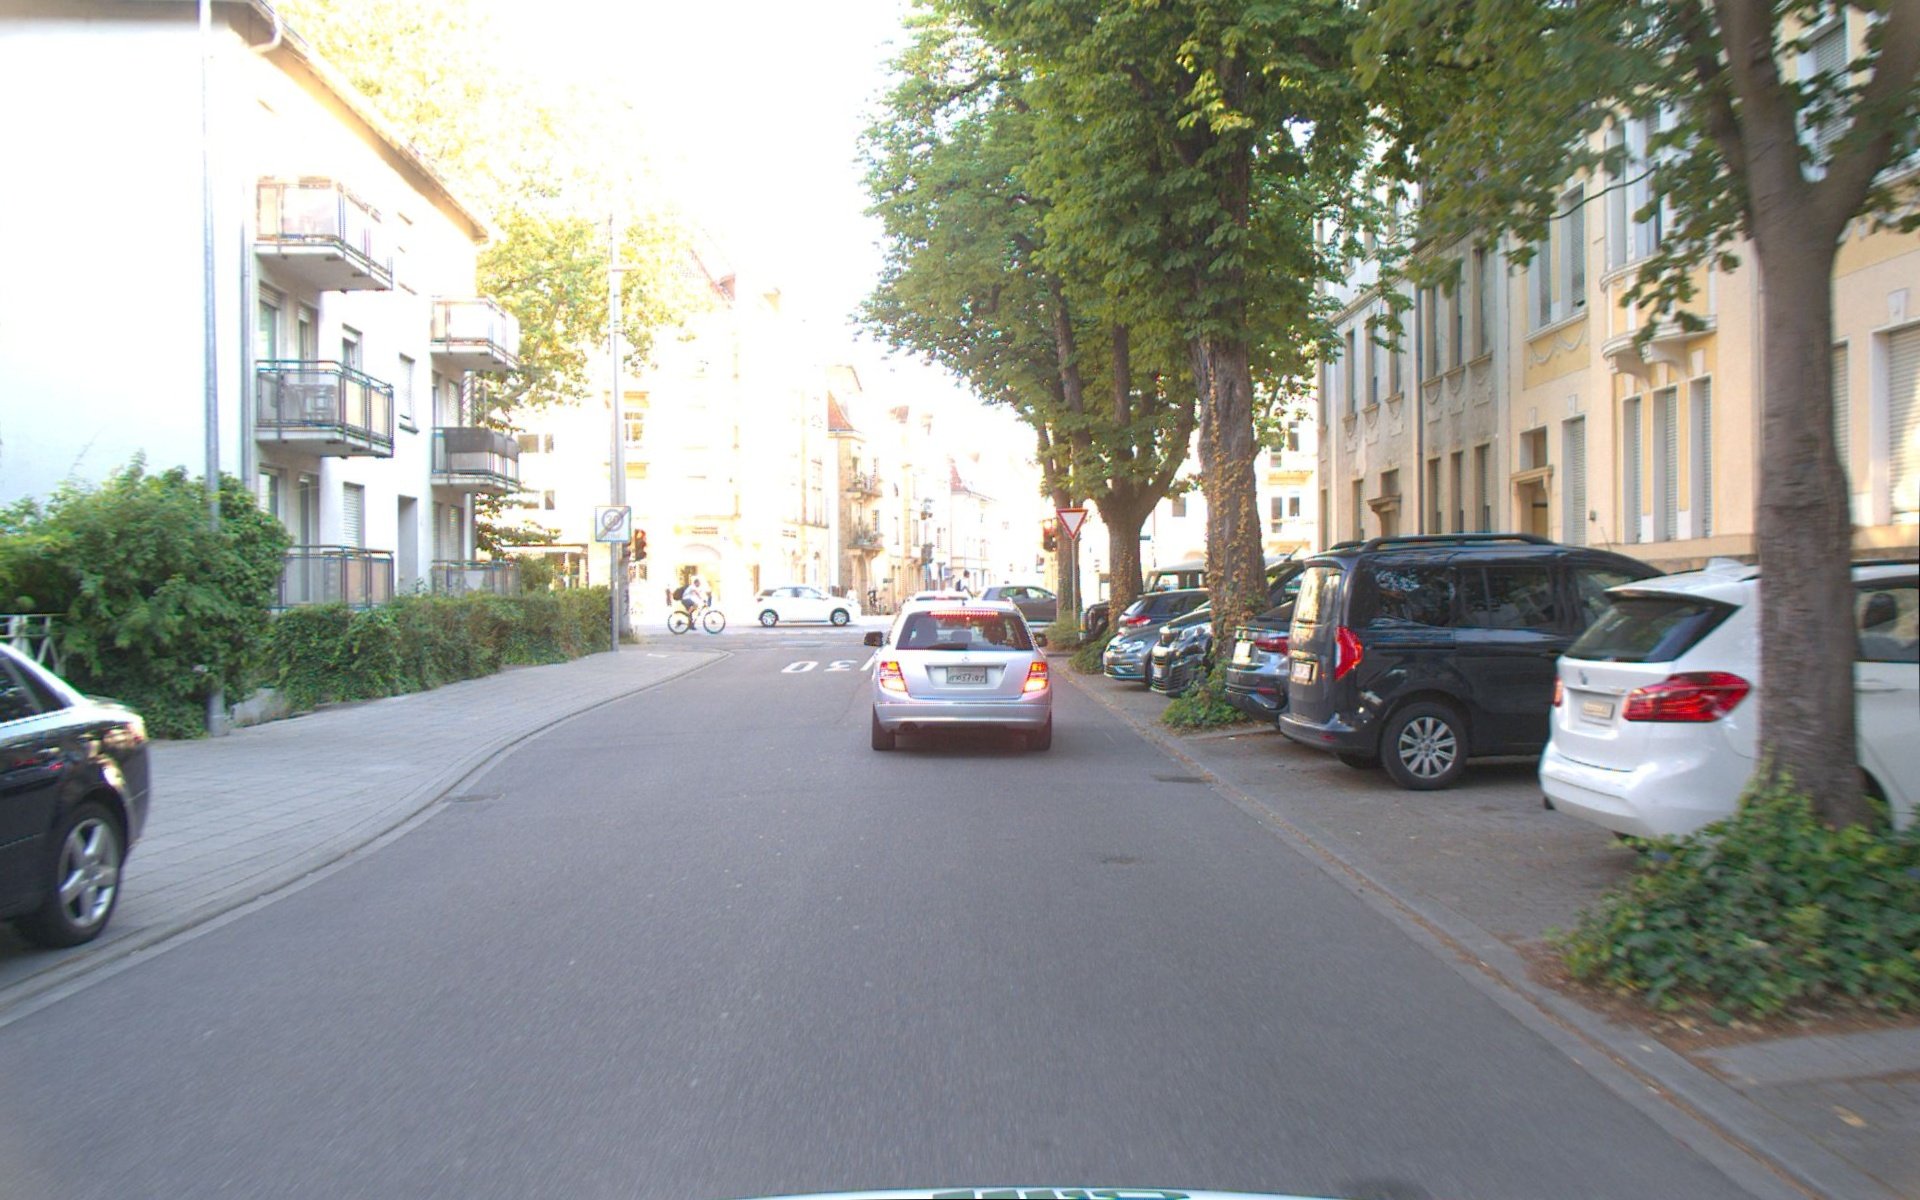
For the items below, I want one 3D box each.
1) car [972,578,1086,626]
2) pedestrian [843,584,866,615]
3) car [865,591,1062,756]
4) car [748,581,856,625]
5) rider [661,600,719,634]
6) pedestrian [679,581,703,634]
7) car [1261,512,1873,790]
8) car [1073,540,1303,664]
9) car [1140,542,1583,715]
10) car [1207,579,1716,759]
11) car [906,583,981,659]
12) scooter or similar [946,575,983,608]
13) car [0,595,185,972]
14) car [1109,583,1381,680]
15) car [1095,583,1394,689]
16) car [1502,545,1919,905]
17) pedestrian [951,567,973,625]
[{"bbox_3d":[2.396,0.058,57.973,3.813,1.671,1.752,0,1,-7],"label":"car"},{"bbox_3d":[-6.160,-0.046,96.628,1.195,1.752,1.504,1,0,2],"label":"pedestrian"},{"bbox_3d":[0.033,0.665,16.789,1.747,1.462,3.850,1,0,0],"label":"car"},{"bbox_3d":[-5.697,0.107,59.477,3.816,1.541,1.704,0,1,-9],"label":"car"},{"bbox_3d":[-8.691,0.542,53.301,1.839,1.056,0.510,0,0,-9],"label":"rider"},{"bbox_3d":[-8.659,0.231,53.304,0.755,1.674,0.504,0,0,-9],"label":"pedestrian"},{"bbox_3d":[4.678,0.365,13.171,4.135,1.929,1.904,-2,0,-3],"label":"car"},{"bbox_3d":[4.517,0.030,33.272,4.301,2.405,1.999,0,0,-3],"label":"car"},{"bbox_3d":[4.837,0.316,20.434,4.952,2.024,2.071,0,1,-3],"label":"car"},{"bbox_3d":[4.580,0.589,15.517,4.202,1.568,1.876,0,1,-3],"label":"car"},{"bbox_3d":[-0.340,0.426,36.665,1.590,1.597,3.680,0,1,0],"label":"car"},{"bbox_3d":[0.144,-0.287,54.930,1.152,1.070,0.409,-2,1,-5],"label":"scooter or similar"},{"bbox_3d":[-4.622,0.732,5.901,1.660,1.472,4.357,1,1,0],"label":"car"},{"bbox_3d":[4.701,0.494,27.678,4.202,1.568,1.898,0,1,-3],"label":"car"},{"bbox_3d":[4.290,0.525,25.352,4.202,1.442,1.876,-2,1,-3],"label":"car"},{"bbox_3d":[5.123,0.525,8.496,4.027,1.599,1.876,-2,0,-1],"label":"car"},{"bbox_3d":[0.074,-0.121,54.924,0.630,1.898,0.409,-2,0,-4],"label":"pedestrian"}]
